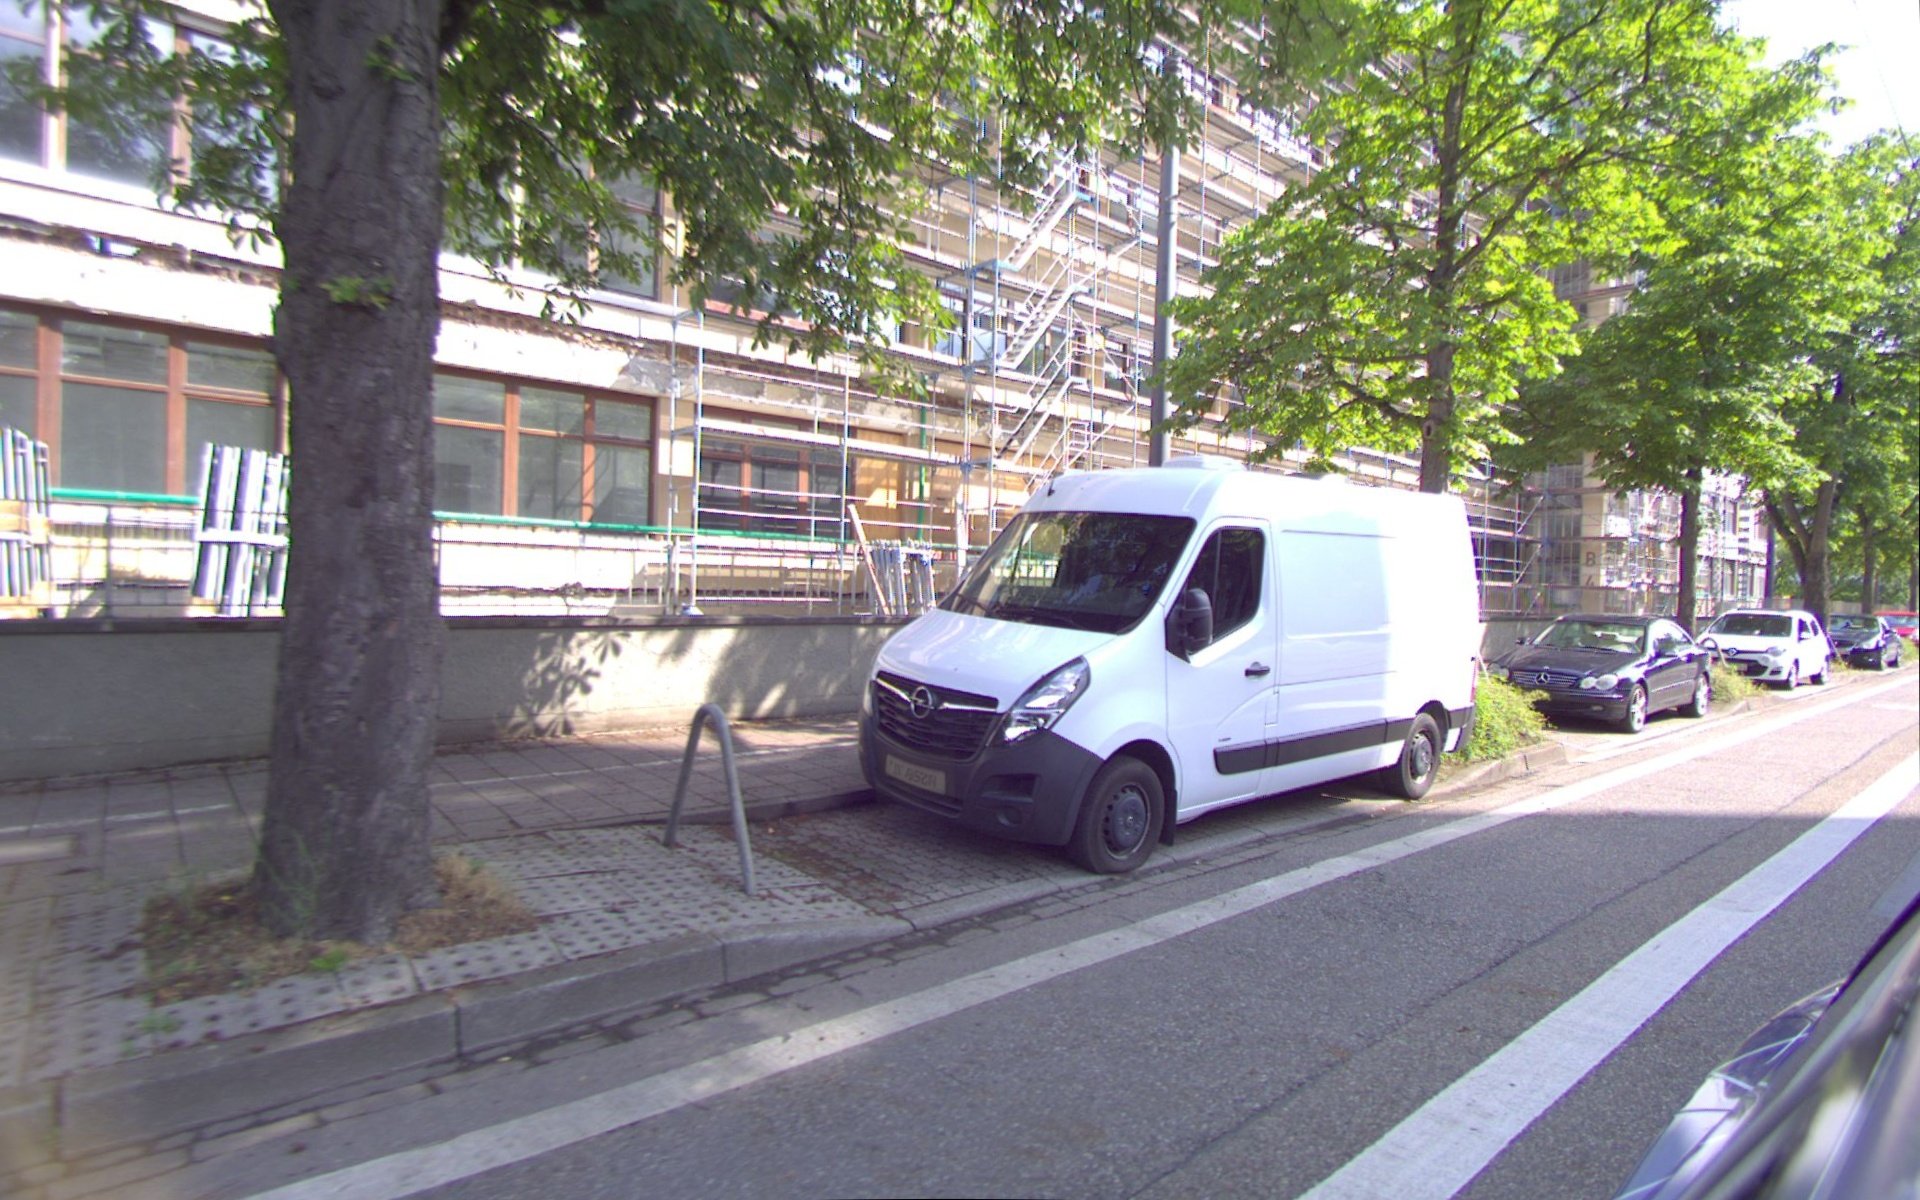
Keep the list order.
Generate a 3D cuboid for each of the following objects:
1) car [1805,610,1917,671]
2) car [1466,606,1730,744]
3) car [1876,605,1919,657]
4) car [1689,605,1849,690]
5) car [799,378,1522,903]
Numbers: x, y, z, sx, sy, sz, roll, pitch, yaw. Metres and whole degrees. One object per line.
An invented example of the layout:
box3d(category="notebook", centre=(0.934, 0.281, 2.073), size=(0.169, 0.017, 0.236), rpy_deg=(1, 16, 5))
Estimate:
box3d(category="car", centre=(23.573, 1.004, 26.436), size=(3.567, 1.416, 1.735), rpy_deg=(-1, 0, -41))
box3d(category="car", centre=(8.686, 0.868, 13.625), size=(4.429, 1.388, 1.738), rpy_deg=(-1, 4, -41))
box3d(category="car", centre=(31.561, 0.993, 33.412), size=(3.584, 1.594, 1.531), rpy_deg=(-1, 0, -41))
box3d(category="car", centre=(16.028, 0.857, 20.001), size=(3.823, 1.475, 1.569), rpy_deg=(-1, 0, -37))
box3d(category="car", centre=(1.875, 0.119, 7.681), size=(5.814, 2.598, 2.128), rpy_deg=(-1, 4, -40))
